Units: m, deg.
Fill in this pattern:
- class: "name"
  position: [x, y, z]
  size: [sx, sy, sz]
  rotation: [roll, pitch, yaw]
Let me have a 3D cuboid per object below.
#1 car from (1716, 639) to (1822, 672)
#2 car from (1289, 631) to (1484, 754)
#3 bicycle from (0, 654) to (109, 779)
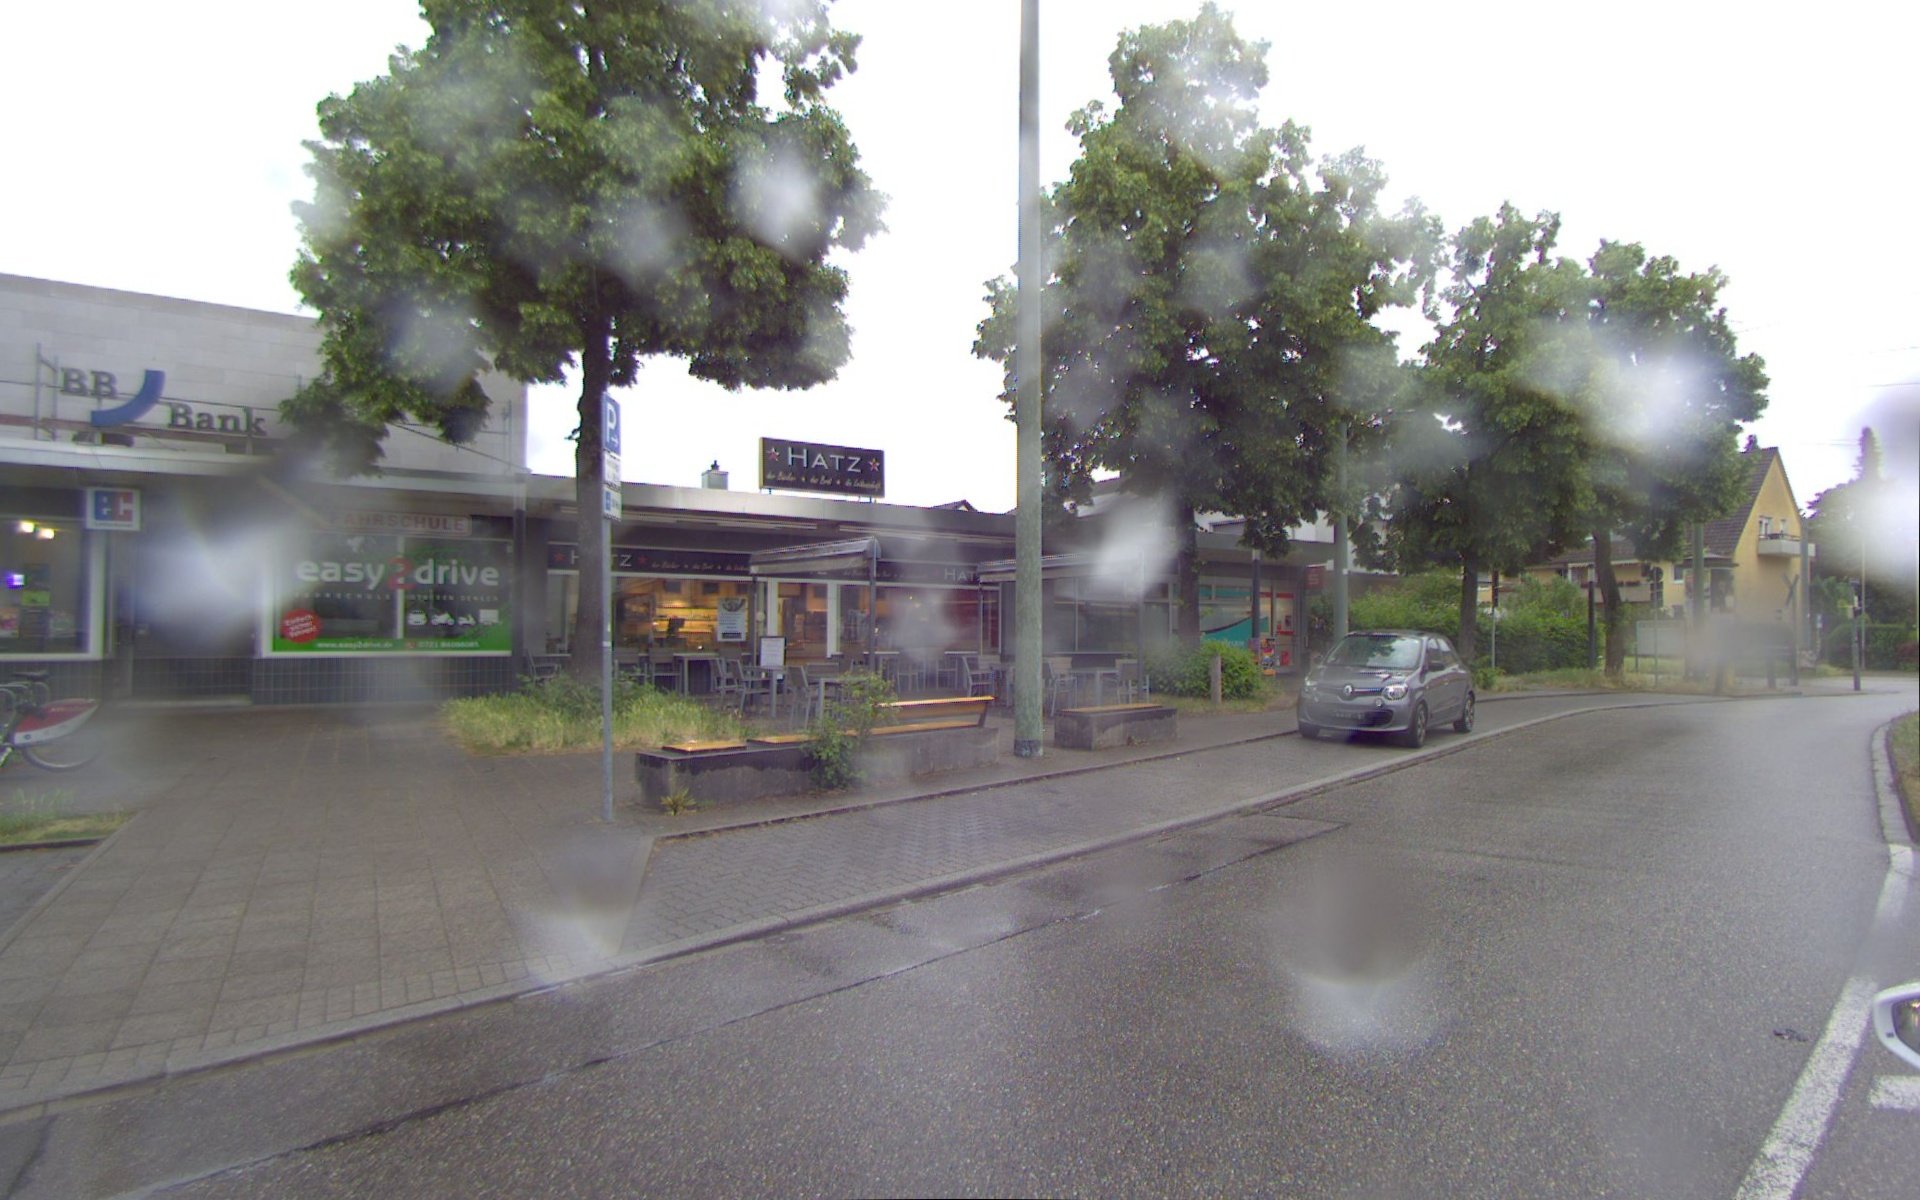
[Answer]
- class: "car"
  position: [41.965, 2.857, 52.185]
  size: [1.815, 1.476, 3.960]
  rotation: [2, 0, -35]
- class: "car"
  position: [6.381, 1.249, 14.828]
  size: [1.598, 1.516, 3.649]
  rotation: [2, 0, 40]
- class: "bicycle"
  position: [-9.003, 1.081, 9.250]
  size: [0.314, 1.122, 1.739]
  rotation: [2, 0, 43]
